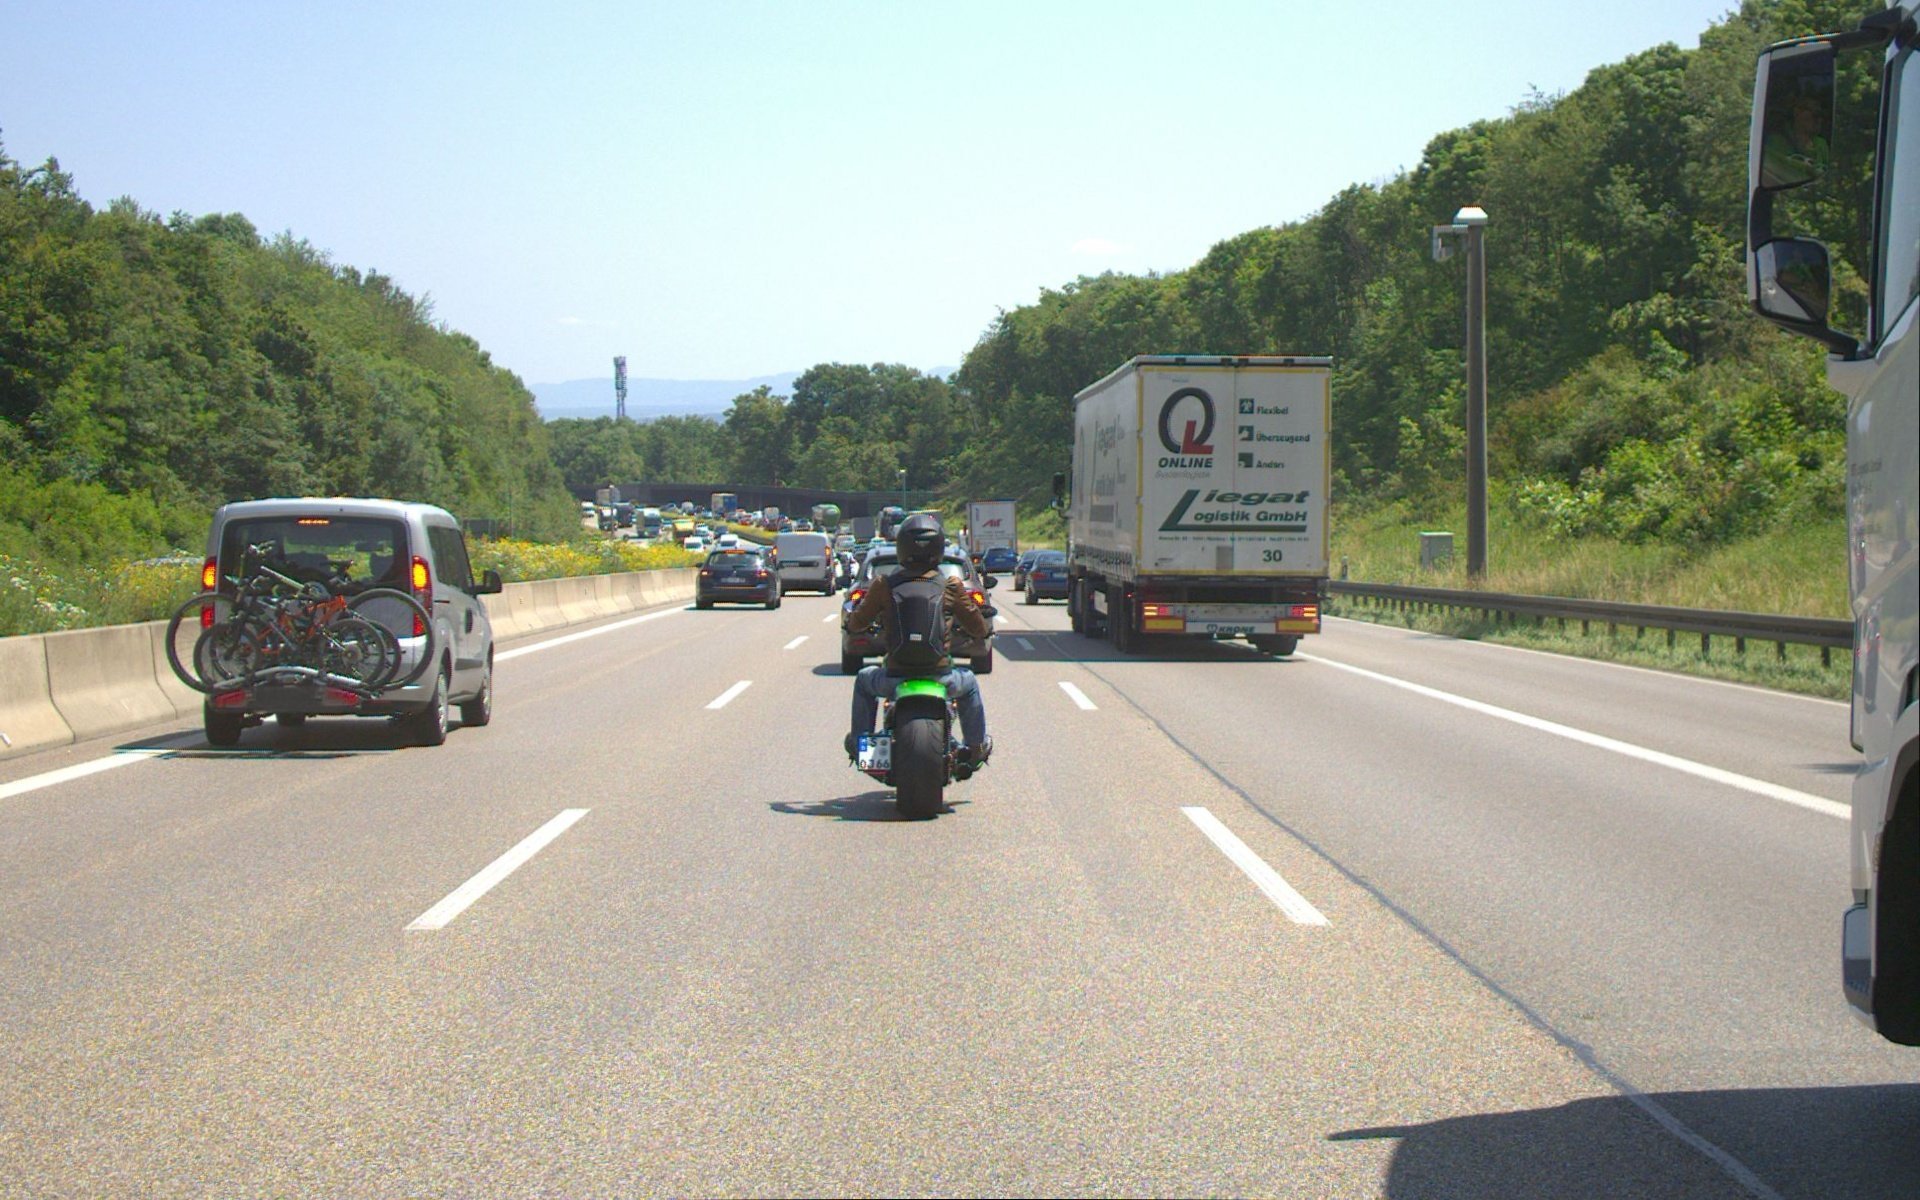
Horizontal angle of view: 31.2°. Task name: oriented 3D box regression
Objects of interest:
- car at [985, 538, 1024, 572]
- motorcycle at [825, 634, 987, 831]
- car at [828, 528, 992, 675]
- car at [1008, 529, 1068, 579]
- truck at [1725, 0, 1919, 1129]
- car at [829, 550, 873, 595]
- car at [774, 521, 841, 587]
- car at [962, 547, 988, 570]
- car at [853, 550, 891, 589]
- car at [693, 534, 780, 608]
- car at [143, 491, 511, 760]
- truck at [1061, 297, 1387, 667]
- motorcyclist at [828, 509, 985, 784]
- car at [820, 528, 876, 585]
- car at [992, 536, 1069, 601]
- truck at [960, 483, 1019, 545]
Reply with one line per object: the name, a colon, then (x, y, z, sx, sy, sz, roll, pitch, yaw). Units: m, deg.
car: (2.192, -2.268, 170.660, 1.831, 1.553, 4.120, 1, 2, -1)
motorcycle: (-0.286, 0.720, 19.444, 0.862, 0.978, 2.131, 0, 1, 0)
car: (-0.604, -0.028, 41.248, 1.845, 1.552, 4.440, 1, 2, -1)
car: (2.624, -1.573, 116.039, 1.831, 1.553, 4.120, 1, 2, -1)
truck: (3.646, -0.643, 4.784, 2.680, 4.045, 10.627, 1, 2, 0)
car: (-4.760, -1.228, 150.947, 1.831, 1.804, 4.120, 1, 2, -1)
car: (-4.476, -1.382, 101.067, 1.831, 1.804, 4.120, 1, 2, -1)
car: (1.069, -3.028, 249.938, 1.831, 1.553, 4.120, 1, 2, -1)
car: (-4.384, -1.530, 171.036, 1.831, 1.804, 4.120, 1, 2, -1)
car: (-5.099, -0.680, 78.887, 1.758, 1.538, 4.396, 1, 2, -1)
car: (-4.735, 0.106, 26.508, 1.898, 1.841, 5.484, 1, 1, -1)
truck: (3.678, -1.833, 53.468, 3.383, 4.701, 17.711, 2, 2, -1)
motorcyclist: (-0.293, 0.244, 19.353, 0.856, 1.509, 0.914, 0, 1, 0)
car: (-3.823, -1.510, 118.011, 1.831, 1.804, 4.120, 1, 2, -1)
car: (1.812, -0.833, 89.219, 1.831, 1.553, 4.120, 1, 2, -1)
truck: (1.609, -4.883, 193.909, 3.067, 3.335, 9.653, 2, 2, -1)
